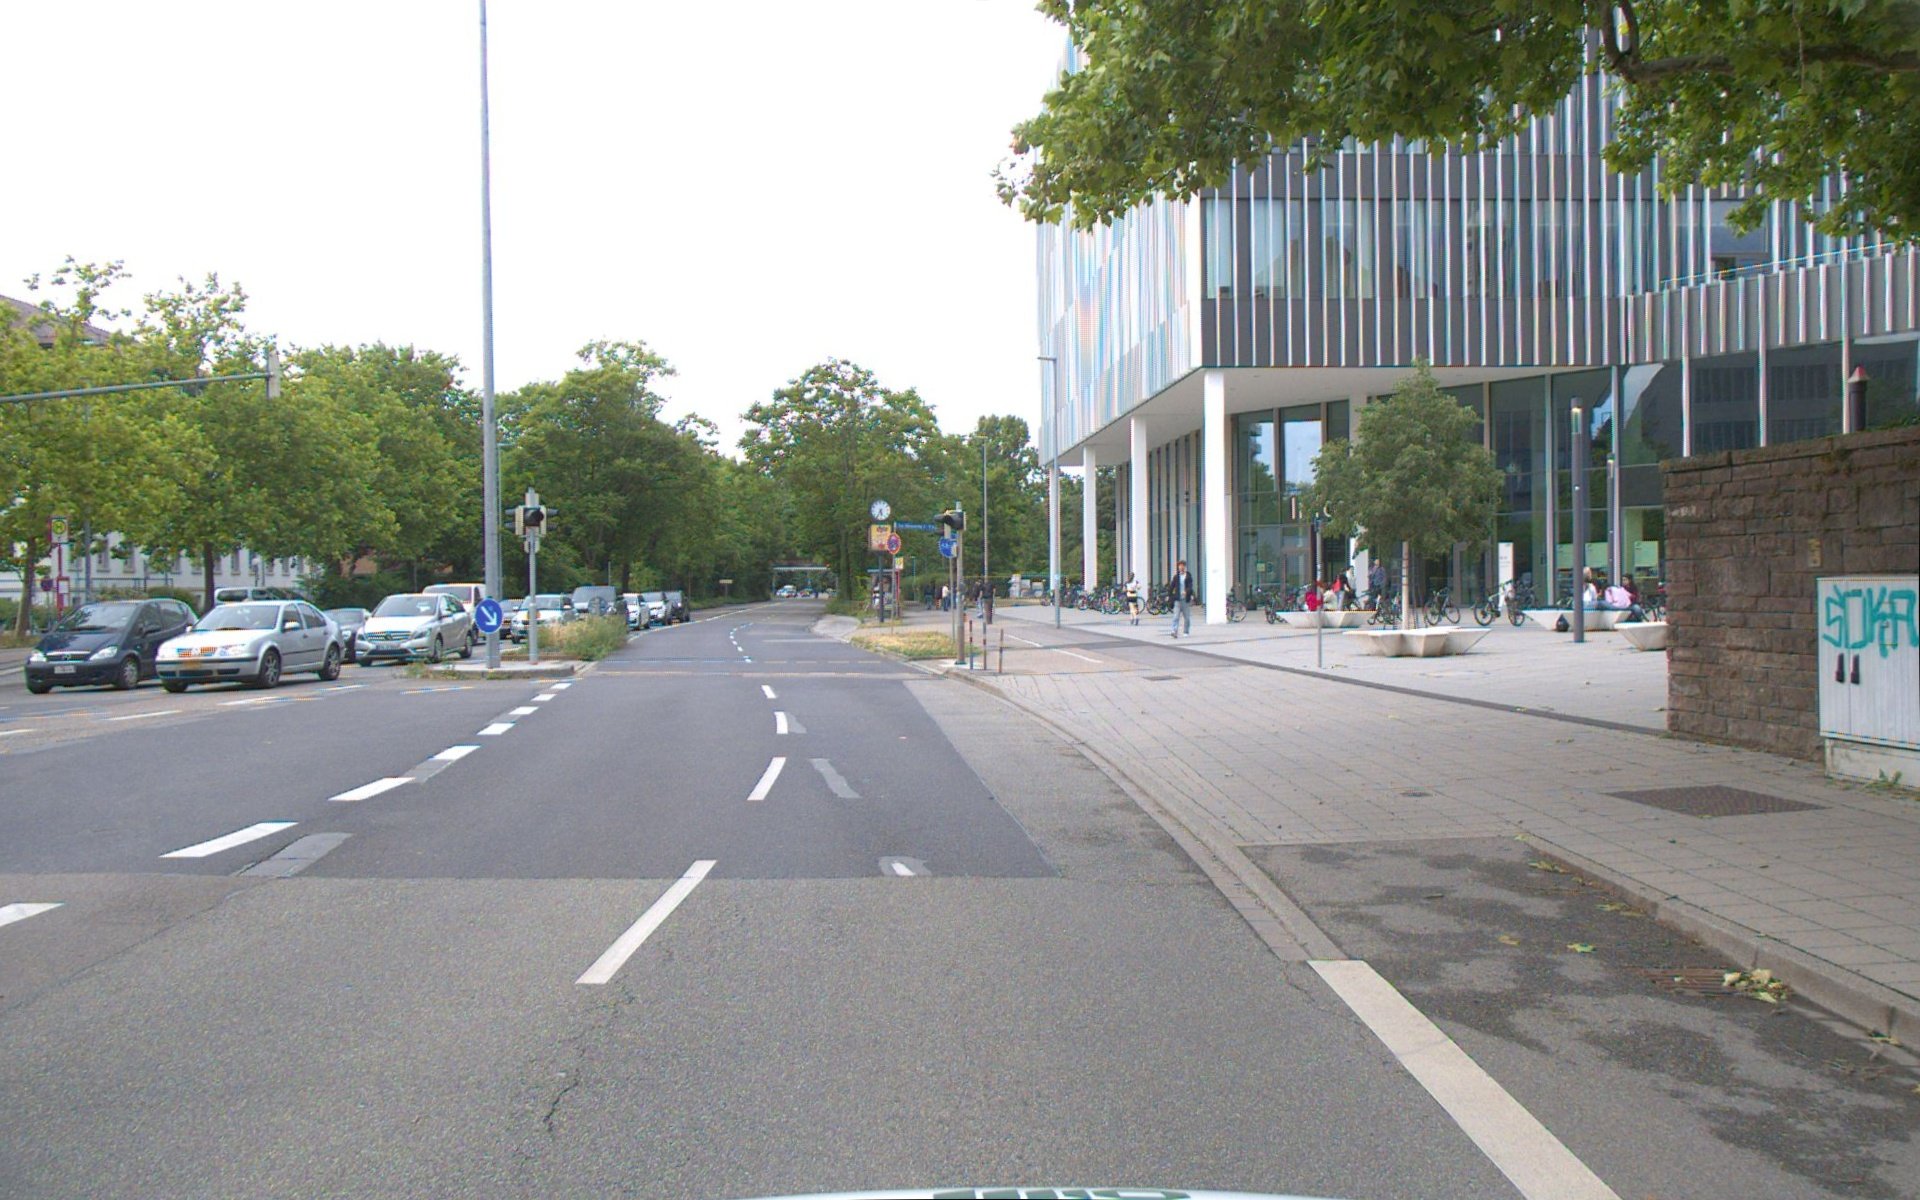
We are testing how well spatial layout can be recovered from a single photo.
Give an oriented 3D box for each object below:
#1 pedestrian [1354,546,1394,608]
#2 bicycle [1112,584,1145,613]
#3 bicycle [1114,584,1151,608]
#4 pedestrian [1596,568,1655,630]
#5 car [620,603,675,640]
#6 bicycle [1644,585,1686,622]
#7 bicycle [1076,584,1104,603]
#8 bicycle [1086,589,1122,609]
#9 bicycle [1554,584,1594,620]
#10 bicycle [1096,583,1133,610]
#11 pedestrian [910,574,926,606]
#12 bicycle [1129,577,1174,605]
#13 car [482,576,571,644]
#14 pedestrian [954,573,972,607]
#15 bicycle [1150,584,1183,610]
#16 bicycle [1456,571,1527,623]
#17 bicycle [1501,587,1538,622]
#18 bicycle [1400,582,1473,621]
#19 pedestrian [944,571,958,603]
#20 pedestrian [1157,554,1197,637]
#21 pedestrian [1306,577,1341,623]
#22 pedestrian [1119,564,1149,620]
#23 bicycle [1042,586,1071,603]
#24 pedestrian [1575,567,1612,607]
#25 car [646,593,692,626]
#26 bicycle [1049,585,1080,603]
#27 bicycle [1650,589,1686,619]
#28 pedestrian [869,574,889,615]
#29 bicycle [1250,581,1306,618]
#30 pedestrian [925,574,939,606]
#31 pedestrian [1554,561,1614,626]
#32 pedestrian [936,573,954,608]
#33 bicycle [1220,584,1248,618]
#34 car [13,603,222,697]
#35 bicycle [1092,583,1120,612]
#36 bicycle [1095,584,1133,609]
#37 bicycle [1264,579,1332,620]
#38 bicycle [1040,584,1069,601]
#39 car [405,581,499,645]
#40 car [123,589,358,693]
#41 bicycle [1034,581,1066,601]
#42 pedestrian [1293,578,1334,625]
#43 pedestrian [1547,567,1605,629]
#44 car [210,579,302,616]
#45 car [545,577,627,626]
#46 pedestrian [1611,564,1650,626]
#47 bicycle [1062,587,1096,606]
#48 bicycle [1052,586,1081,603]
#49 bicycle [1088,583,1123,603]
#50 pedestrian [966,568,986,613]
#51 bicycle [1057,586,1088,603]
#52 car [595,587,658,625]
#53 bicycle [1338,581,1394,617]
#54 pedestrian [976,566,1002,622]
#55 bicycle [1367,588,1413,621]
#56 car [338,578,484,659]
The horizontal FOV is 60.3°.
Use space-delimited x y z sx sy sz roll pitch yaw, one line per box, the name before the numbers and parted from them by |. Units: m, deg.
pedestrian | 14.147 -0.789 56.508 1.156 2.098 1.136 1 0 7
bicycle | 6.804 -0.068 66.834 0.597 1.098 1.955 -3 1 -15
bicycle | 7.549 -0.189 72.375 1.572 0.952 0.569 -3 1 7
pedestrian | 14.098 -0.028 35.057 0.890 1.279 0.878 1 0 -1
car | -14.490 0.970 76.855 1.954 1.574 4.176 -2 0 -4
bicycle | 18.080 0.078 42.403 0.500 0.914 1.542 -1 1 42
bicycle | 6.322 -0.330 80.225 1.257 0.890 0.556 -2 0 -4
bicycle | 6.721 -0.049 77.292 1.574 0.890 0.556 -1 0 -4
bicycle | 16.216 0.039 43.658 0.533 0.914 1.349 -1 1 42
bicycle | 7.047 -0.160 75.412 1.610 1.110 0.572 -4 0 4
pedestrian | -2.774 -0.632 108.267 0.908 2.049 1.038 -1 0 -8
bicycle | 8.741 -0.411 75.615 1.949 1.164 0.646 -2 1 38
car | -13.768 0.287 52.732 1.954 2.049 3.997 -1 0 -4
pedestrian | 0.158 -0.595 98.747 0.908 2.049 1.038 -1 0 -8
bicycle | 8.137 -0.116 65.123 1.477 0.945 0.434 -3 3 -43
bicycle | 14.784 -0.102 46.013 1.977 1.328 0.640 -3 2 -26
bicycle | 15.200 0.109 44.926 0.387 0.914 1.464 -1 1 42
bicycle | 13.541 0.038 46.985 2.166 1.023 0.772 -2 1 -34
pedestrian | -0.585 -0.857 108.463 0.808 2.049 0.719 -2 0 -5
pedestrian | 5.438 -0.118 41.527 0.825 2.049 0.894 -1 0 -2
pedestrian | 9.860 0.004 44.895 0.872 1.214 0.846 -1 0 10
pedestrian | 5.867 -0.264 55.819 0.826 1.868 0.894 -1 0 -4
bicycle | 5.483 -0.333 93.792 1.574 0.890 0.556 -2 0 -4
pedestrian | 13.827 -0.276 36.112 0.620 0.838 0.734 -2 0 12
car | -15.072 0.488 85.899 1.865 1.621 4.513 -1 0 -4
bicycle | 5.379 -0.307 85.237 1.502 0.848 0.556 -2 0 -4
bicycle | 17.995 0.106 42.050 0.482 0.703 1.180 -1 2 42
pedestrian | -4.170 -0.300 84.881 0.894 2.048 0.853 -3 2 -5
bicycle | 10.138 -0.026 52.640 0.723 1.135 2.169 -1 1 43
pedestrian | -1.832 -0.640 108.473 0.808 2.049 0.719 -1 0 -8
pedestrian | 13.707 -0.149 36.346 0.893 1.391 0.876 1 0 -14
pedestrian | -0.870 -0.576 98.672 0.908 2.049 1.038 -1 0 -8
bicycle | 9.057 0.021 54.714 0.625 1.080 1.841 1 0 1
car | -14.892 0.834 29.462 1.814 1.489 3.697 -1 1 0
bicycle | 6.134 -0.112 69.594 0.624 1.160 2.197 -4 1 -8
bicycle | 6.870 -0.173 73.813 1.575 0.999 0.556 -4 0 -4
bicycle | 10.490 -0.016 51.262 0.761 1.208 2.701 -1 1 44
bicycle | 5.403 -0.422 94.746 1.574 0.890 0.556 -2 0 -4
car | -15.830 0.367 51.768 1.736 1.880 4.486 1 0 -3
car | -11.962 0.626 27.853 1.952 1.556 4.275 -1 1 2
bicycle | 5.279 -0.528 96.738 1.760 1.100 0.625 -3 1 -6
pedestrian | 9.460 0.045 44.268 0.827 1.227 0.893 -1 0 30
pedestrian | 12.974 -0.044 34.855 0.890 1.279 0.878 1 0 -1
car | -32.412 -0.125 76.226 3.517 1.629 1.650 1 0 -6
car | -13.609 0.027 60.448 1.953 1.716 4.947 1 1 -1
pedestrian | 14.316 -0.107 35.332 0.632 1.301 0.645 1 0 9
bicycle | 5.822 -0.184 80.935 1.574 0.890 0.556 -2 0 -4
bicycle | 5.940 -0.293 92.218 1.574 0.890 0.556 -2 0 -4
bicycle | 7.159 -0.328 81.510 1.656 0.963 0.516 -1 0 2
pedestrian | 0.741 -0.427 76.234 0.826 2.049 0.893 -1 0 -4
bicycle | 6.193 -0.294 91.045 1.574 0.890 0.556 -2 0 -4
car | -13.626 0.222 67.800 1.866 1.491 4.907 1 0 -4
bicycle | 12.139 -0.034 49.436 0.761 1.019 1.947 -1 1 44
pedestrian | 1.085 -0.223 62.371 0.826 2.048 0.894 -3 0 -2
bicycle | 12.679 0.119 48.760 0.659 0.914 1.838 -1 1 37
car | -12.465 0.374 37.864 1.918 1.611 4.255 -3 1 -1
